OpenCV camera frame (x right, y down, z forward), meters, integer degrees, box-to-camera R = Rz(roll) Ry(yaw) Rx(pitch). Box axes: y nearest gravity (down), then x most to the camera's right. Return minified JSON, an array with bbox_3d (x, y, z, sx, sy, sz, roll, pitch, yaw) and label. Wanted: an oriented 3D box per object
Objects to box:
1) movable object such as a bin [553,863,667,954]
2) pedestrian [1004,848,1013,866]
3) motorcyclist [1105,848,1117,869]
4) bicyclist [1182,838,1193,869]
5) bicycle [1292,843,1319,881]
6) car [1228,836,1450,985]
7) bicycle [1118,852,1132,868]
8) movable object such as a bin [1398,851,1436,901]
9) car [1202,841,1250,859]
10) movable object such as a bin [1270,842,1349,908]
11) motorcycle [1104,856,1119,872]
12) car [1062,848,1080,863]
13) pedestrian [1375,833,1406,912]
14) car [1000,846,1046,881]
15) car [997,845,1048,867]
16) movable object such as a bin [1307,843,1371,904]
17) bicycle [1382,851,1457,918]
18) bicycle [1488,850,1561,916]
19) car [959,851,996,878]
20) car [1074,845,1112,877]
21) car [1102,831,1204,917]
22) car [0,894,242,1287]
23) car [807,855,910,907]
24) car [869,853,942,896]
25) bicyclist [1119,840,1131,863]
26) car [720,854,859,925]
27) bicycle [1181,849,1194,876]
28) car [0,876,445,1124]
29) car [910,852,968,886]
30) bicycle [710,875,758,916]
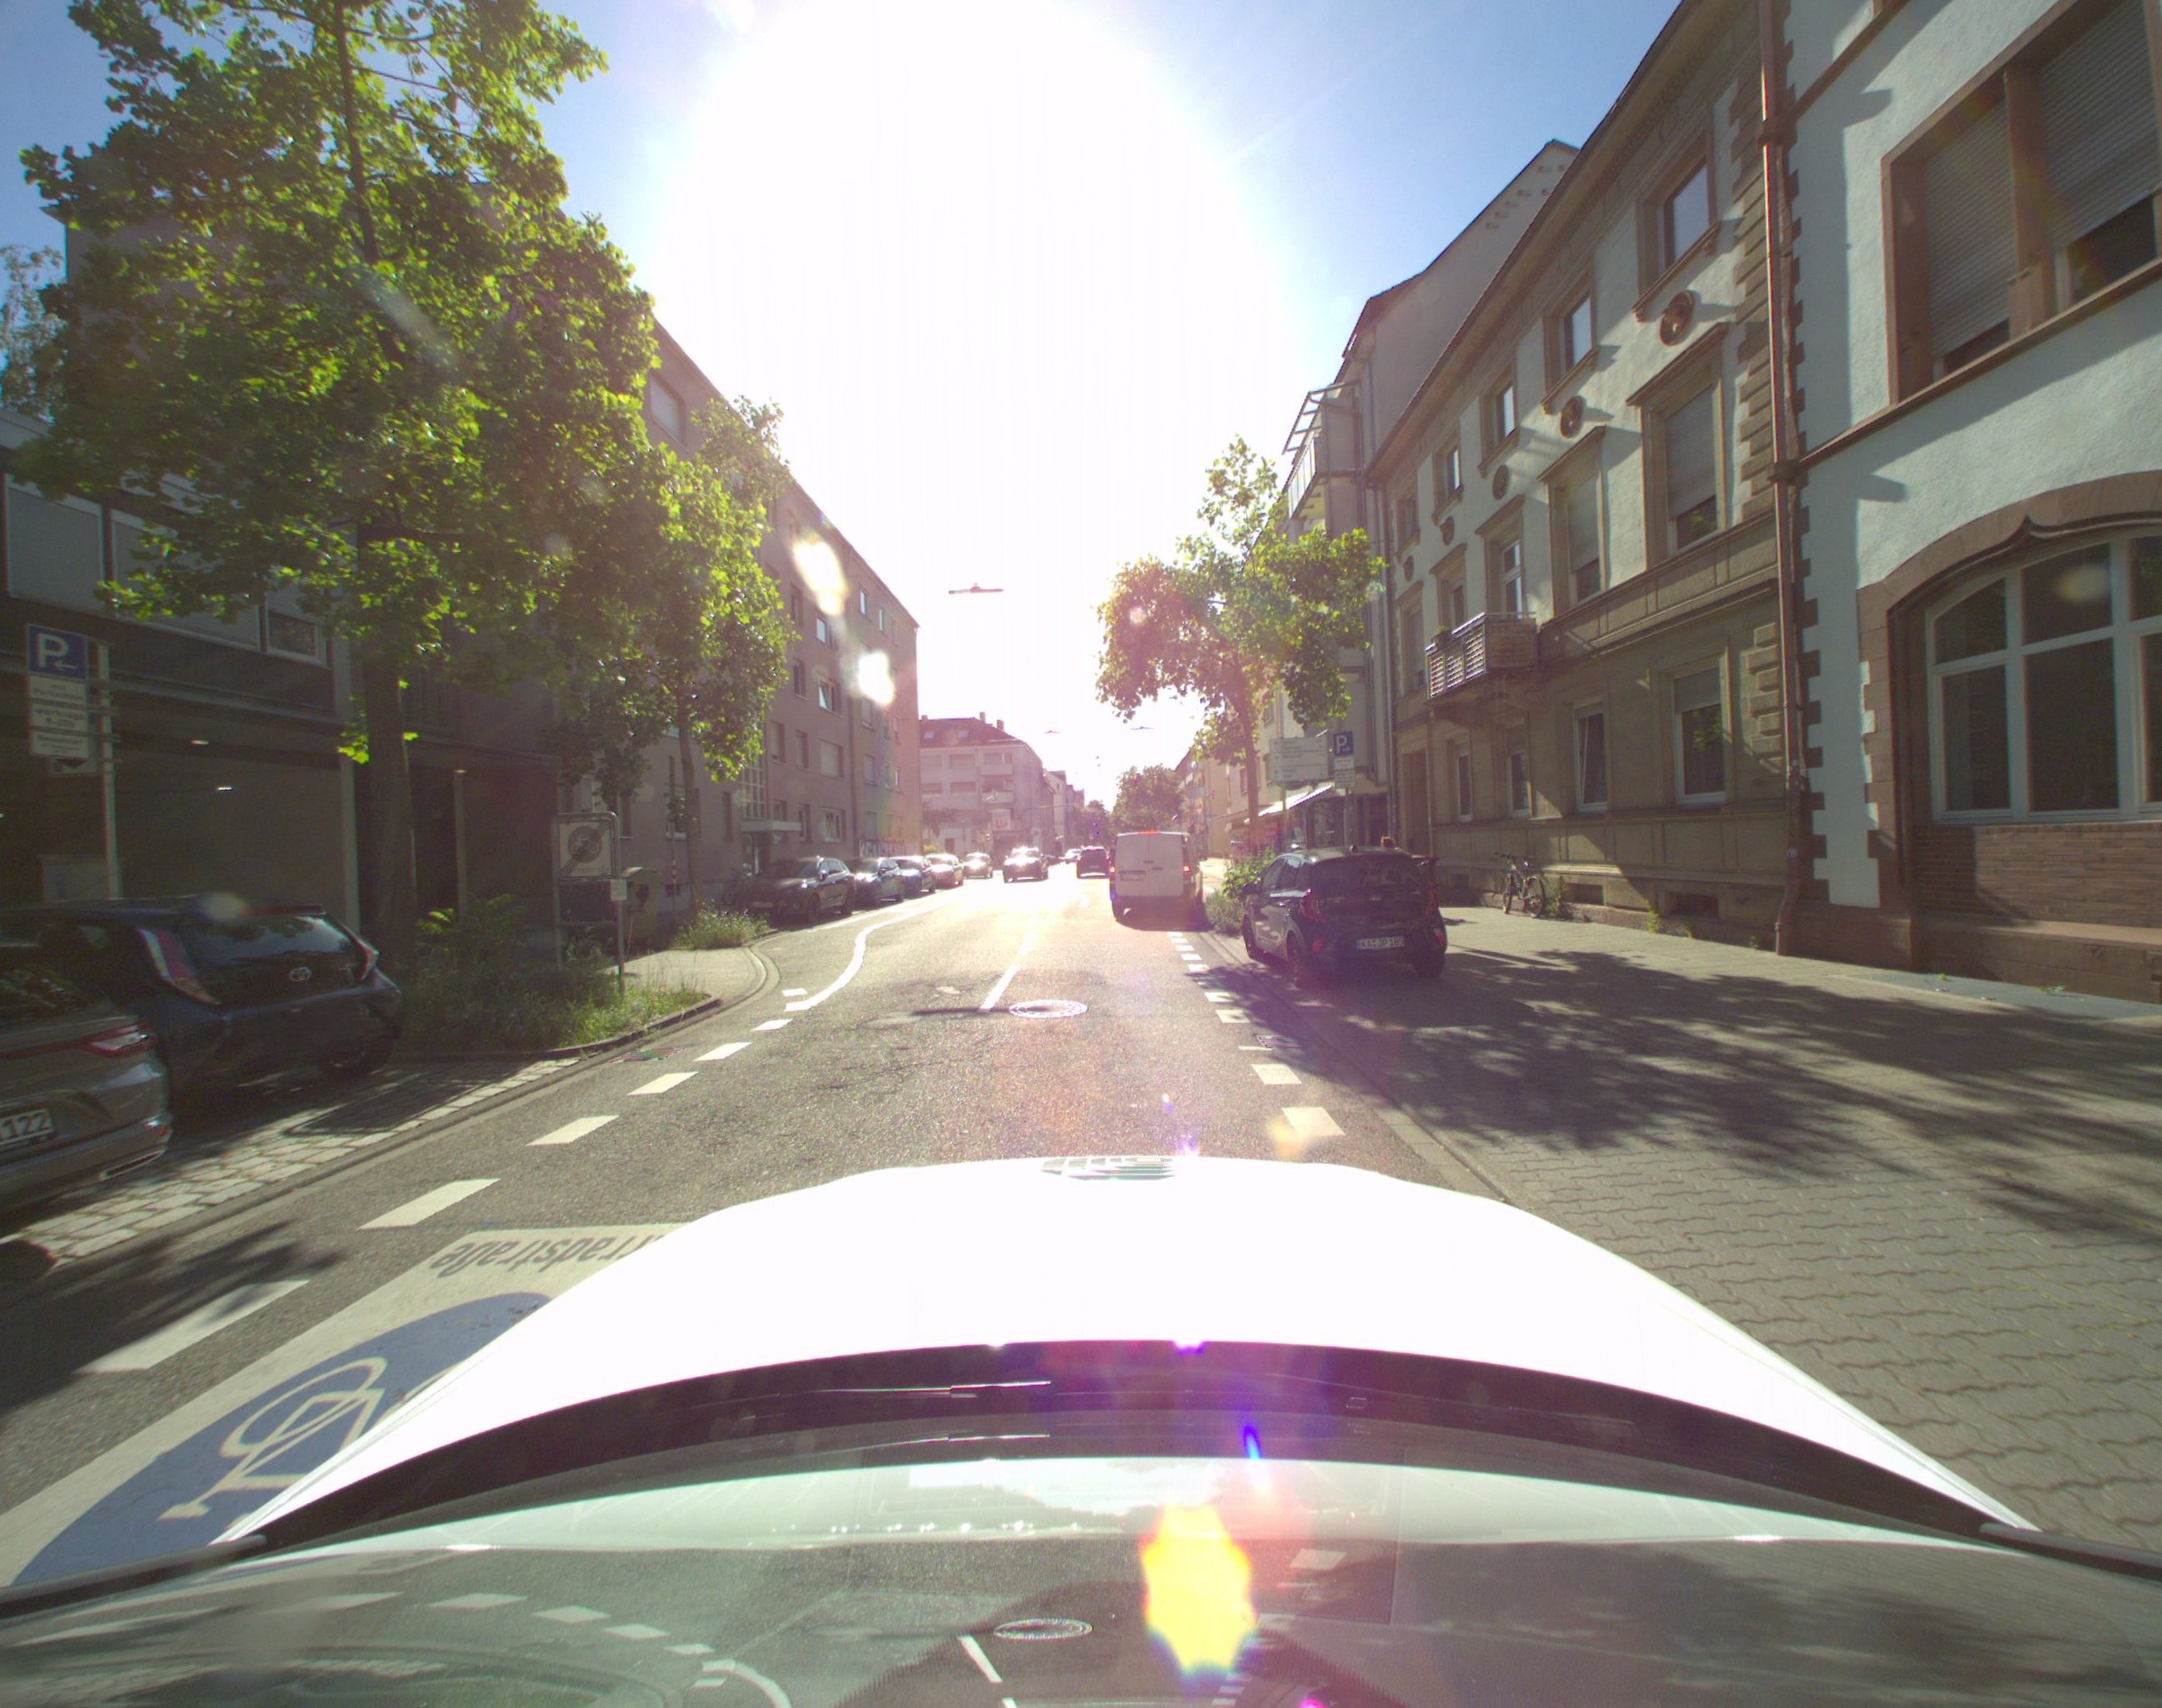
[{"bbox_3d":[-8.002,0.908,13.891,1.223,1.450,1.079,-2,0,9],"label":"movable object such as a bin"},{"bbox_3d":[-6.656,0.292,74.511,0.681,1.663,0.601,-2,0,0],"label":"pedestrian"},{"bbox_3d":[1.739,0.266,47.827,0.656,1.227,0.694,-2,0,0],"label":"motorcyclist"},{"bbox_3d":[5.211,-0.025,40.006,0.438,1.508,0.497,-2,0,1],"label":"bicyclist"},{"bbox_3d":[7.826,0.249,28.457,0.545,1.269,1.886,-2,0,5],"label":"bicycle"},{"bbox_3d":[3.011,0.582,10.265,1.630,1.475,3.580,-3,0,0],"label":"car"},{"bbox_3d":[2.849,0.402,52.943,0.772,0.992,1.717,-2,0,1],"label":"bicycle"},{"bbox_3d":[7.335,0.472,17.789,0.596,1.042,0.546,-2,0,1],"label":"movable object such as a bin"},{"bbox_3d":[12.081,-0.332,67.871,3.698,1.303,1.691,-2,0,1],"label":"car"},{"bbox_3d":[5.033,0.447,17.920,1.278,1.347,1.095,-3,0,-40],"label":"movable object such as a bin"},{"bbox_3d":[1.800,0.578,48.184,0.805,0.863,1.823,-2,0,1],"label":"motorcycle"},{"bbox_3d":[-1.004,0.129,82.202,1.612,1.398,3.733,-1,0,2],"label":"car"},{"bbox_3d":[5.864,0.350,15.448,0.366,1.469,0.389,-3,0,0],"label":"pedestrian"},{"bbox_3d":[-2.900,0.450,41.578,1.860,1.614,4.429,-2,0,1],"label":"car"},{"bbox_3d":[-4.731,0.191,66.371,3.976,1.640,1.999,-2,0,-2],"label":"car"},{"bbox_3d":[5.992,0.431,18.933,1.028,1.347,1.116,-2,0,40],"label":"movable object such as a bin"},{"bbox_3d":[6.278,0.529,15.226,0.534,1.148,2.124,-2,0,1],"label":"bicycle"},{"bbox_3d":[7.623,0.474,14.053,0.431,1.030,1.428,-5,0,1],"label":"bicycle"},{"bbox_3d":[-6.109,0.598,48.559,1.647,1.479,4.000,0,0,1],"label":"car"},{"bbox_3d":[0.607,0.308,42.168,1.838,1.507,4.000,-2,0,1],"label":"car"},{"bbox_3d":[1.879,0.412,19.781,1.972,1.822,4.560,-2,0,10],"label":"car"},{"bbox_3d":[-6.299,0.949,3.212,4.286,1.460,1.764,0,0,3],"label":"car"},{"bbox_3d":[-7.196,0.817,26.862,1.985,1.497,4.232,1,0,3],"label":"car"},{"bbox_3d":[-6.776,0.746,31.940,1.714,1.497,4.628,1,0,2],"label":"car"},{"bbox_3d":[2.848,-0.177,53.163,0.681,1.448,0.940,-2,0,0],"label":"bicyclist"},{"bbox_3d":[-7.378,0.830,21.142,1.869,1.606,4.368,0,0,3],"label":"car"},{"bbox_3d":[5.277,0.401,40.283,0.473,1.274,1.218,-2,0,1],"label":"bicycle"},{"bbox_3d":[-7.305,0.931,5.797,4.287,1.433,1.645,-1,0,2],"label":"car"},{"bbox_3d":[-6.594,0.637,38.276,1.770,1.469,4.761,1,0,1],"label":"car"},{"bbox_3d":[-10.375,1.218,24.426,0.552,1.102,1.904,-2,0,2],"label":"bicycle"}]
